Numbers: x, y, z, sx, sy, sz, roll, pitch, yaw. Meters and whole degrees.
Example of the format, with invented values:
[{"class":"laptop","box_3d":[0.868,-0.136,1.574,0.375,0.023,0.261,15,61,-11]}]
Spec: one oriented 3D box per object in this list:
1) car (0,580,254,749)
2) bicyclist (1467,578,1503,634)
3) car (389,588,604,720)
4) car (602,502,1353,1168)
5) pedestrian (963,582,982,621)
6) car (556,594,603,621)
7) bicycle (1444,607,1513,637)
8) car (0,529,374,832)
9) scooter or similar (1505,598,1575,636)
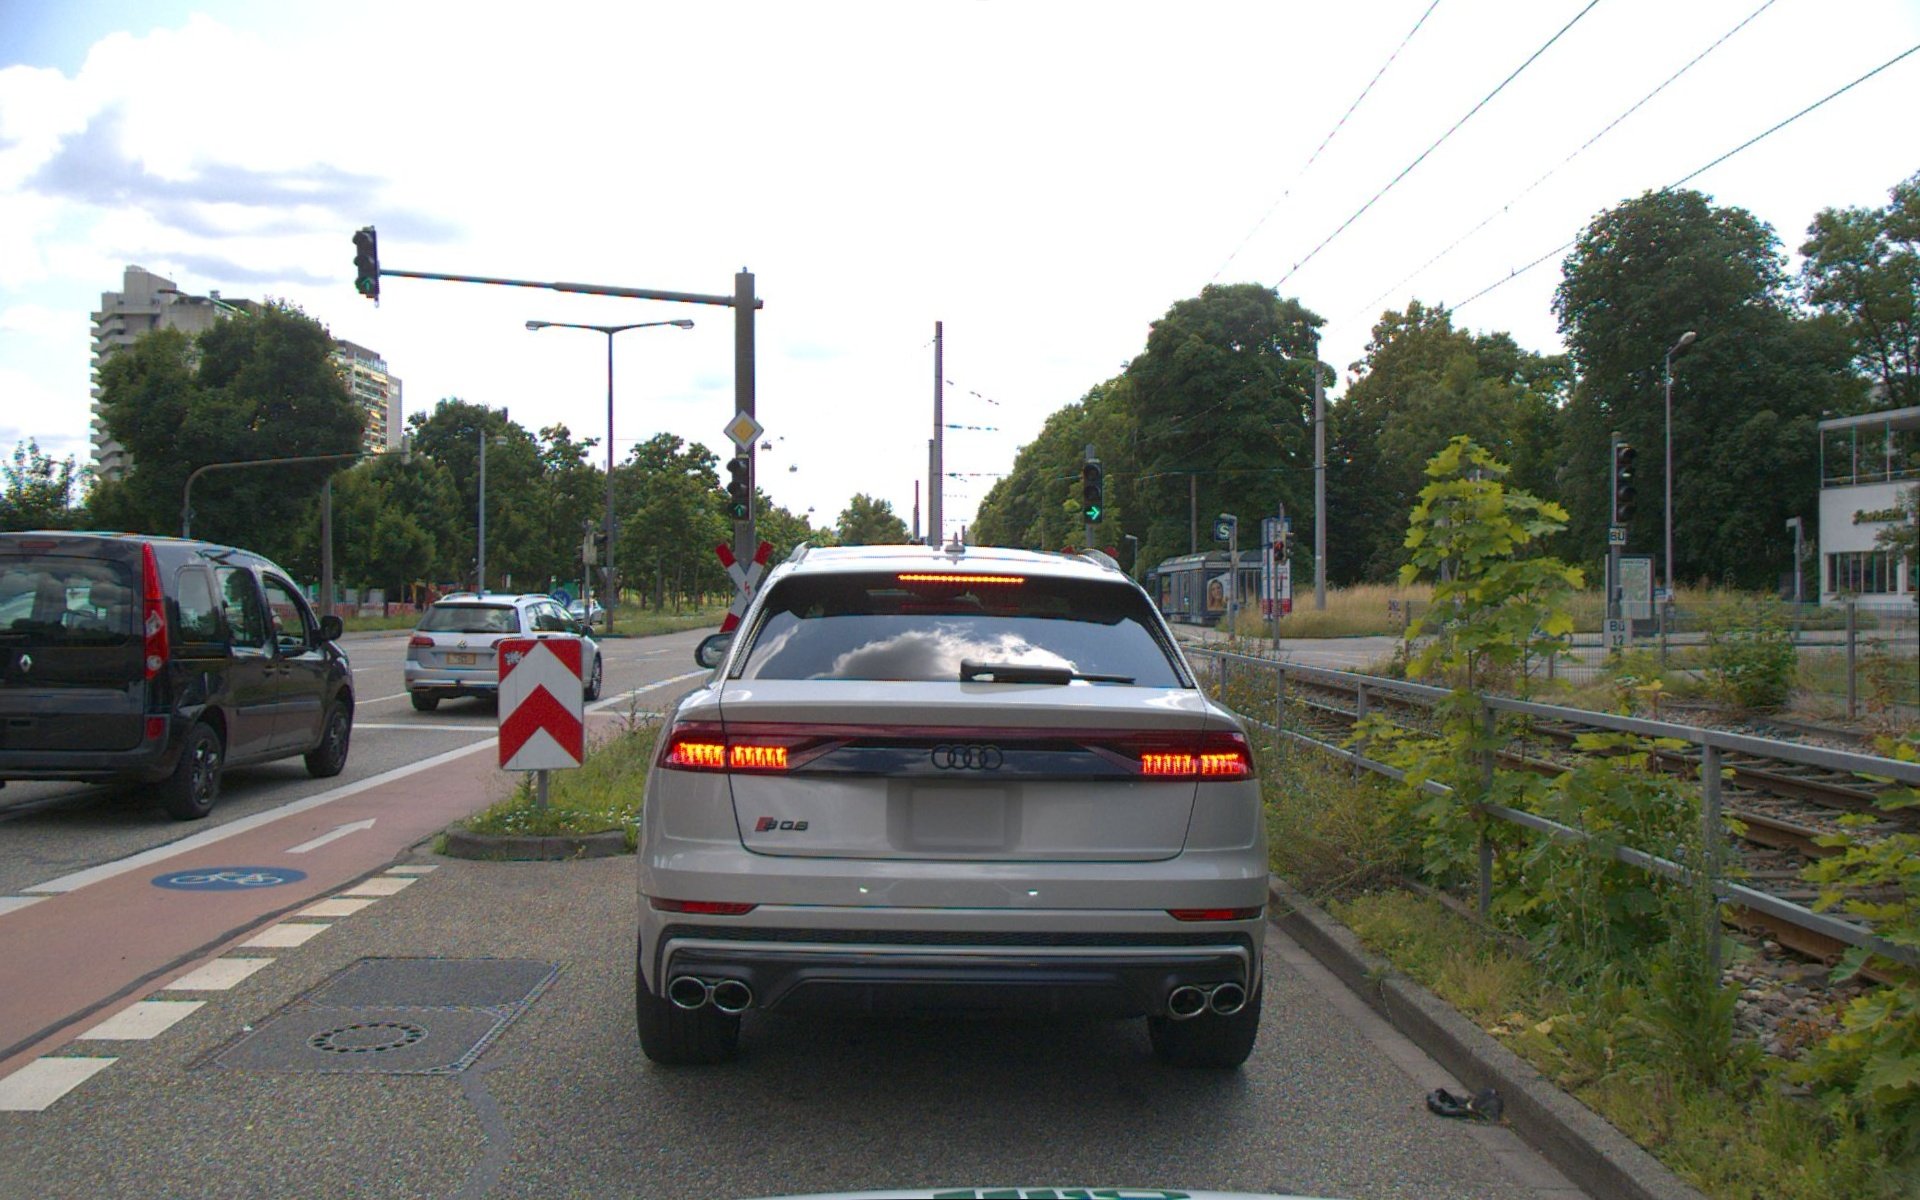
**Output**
[{"class":"car","box_3d":[-8.982,0.591,17.092,1.827,1.531,3.997,1,0,-4]},{"class":"bicyclist","box_3d":[14.182,0.156,44.700,0.821,1.501,0.455,0,0,1]},{"class":"car","box_3d":[-6.008,0.654,21.950,1.750,1.552,4.299,1,0,-2]},{"class":"car","box_3d":[0.021,0.627,6.616,1.941,1.713,4.573,1,0,-1]},{"class":"pedestrian","box_3d":[0.484,0.057,65.124,0.642,1.540,0.716,0,0,-10]},{"class":"car","box_3d":[-21.063,0.388,91.749,1.764,1.457,4.494,0,0,-3]},{"class":"bicycle","box_3d":[14.002,0.601,44.661,1.686,0.778,0.555,1,0,1]},{"class":"car","box_3d":[-5.706,0.488,11.883,1.724,1.808,3.906,1,0,-3]},{"class":"scooter or similar","box_3d":[15.647,0.452,44.661,1.542,0.997,0.962,-1,0,1]}]
